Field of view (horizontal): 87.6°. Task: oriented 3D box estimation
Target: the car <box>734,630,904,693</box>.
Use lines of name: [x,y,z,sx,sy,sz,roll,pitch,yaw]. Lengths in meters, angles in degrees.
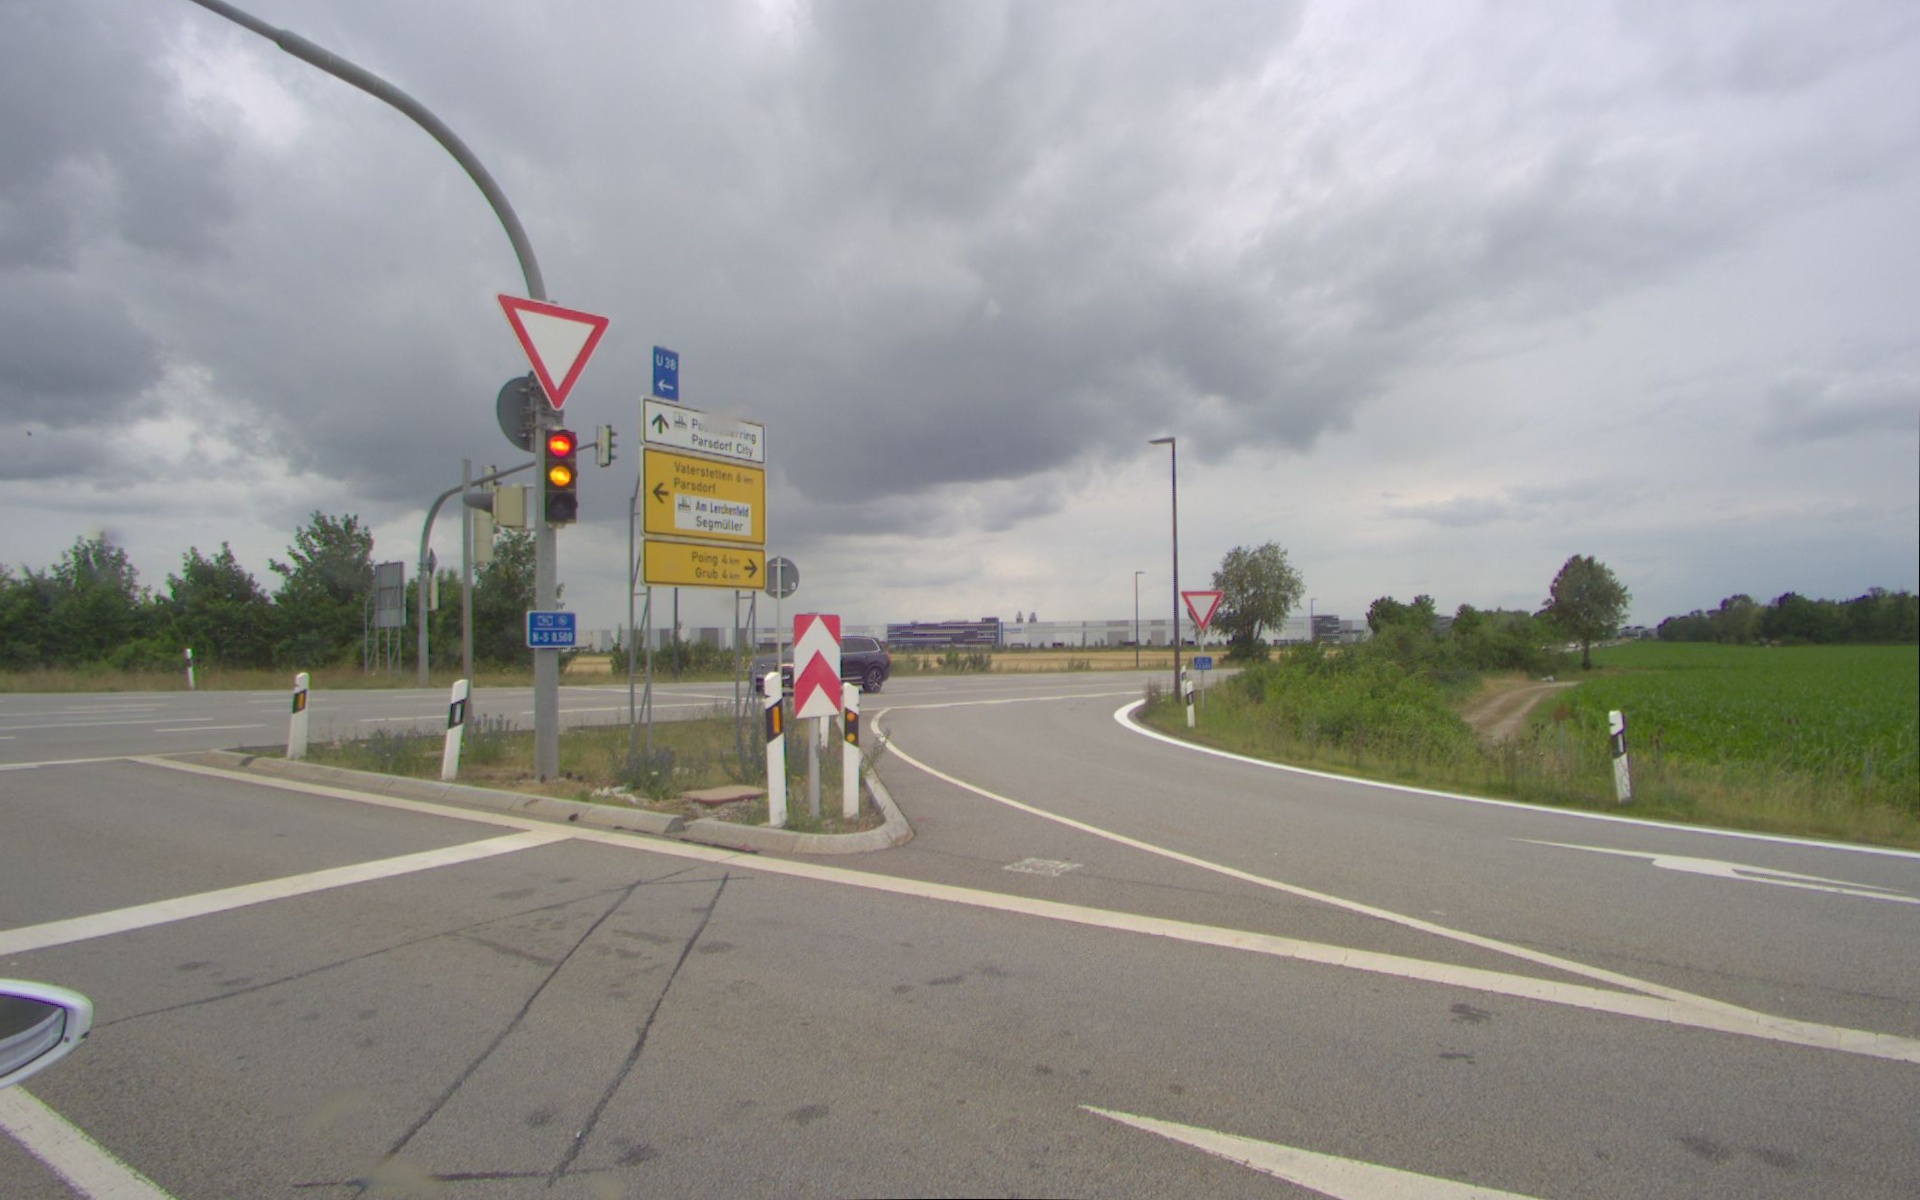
car: [-4.079,1.813,29.804,1.977,1.705,4.961,-2,-3,41]
